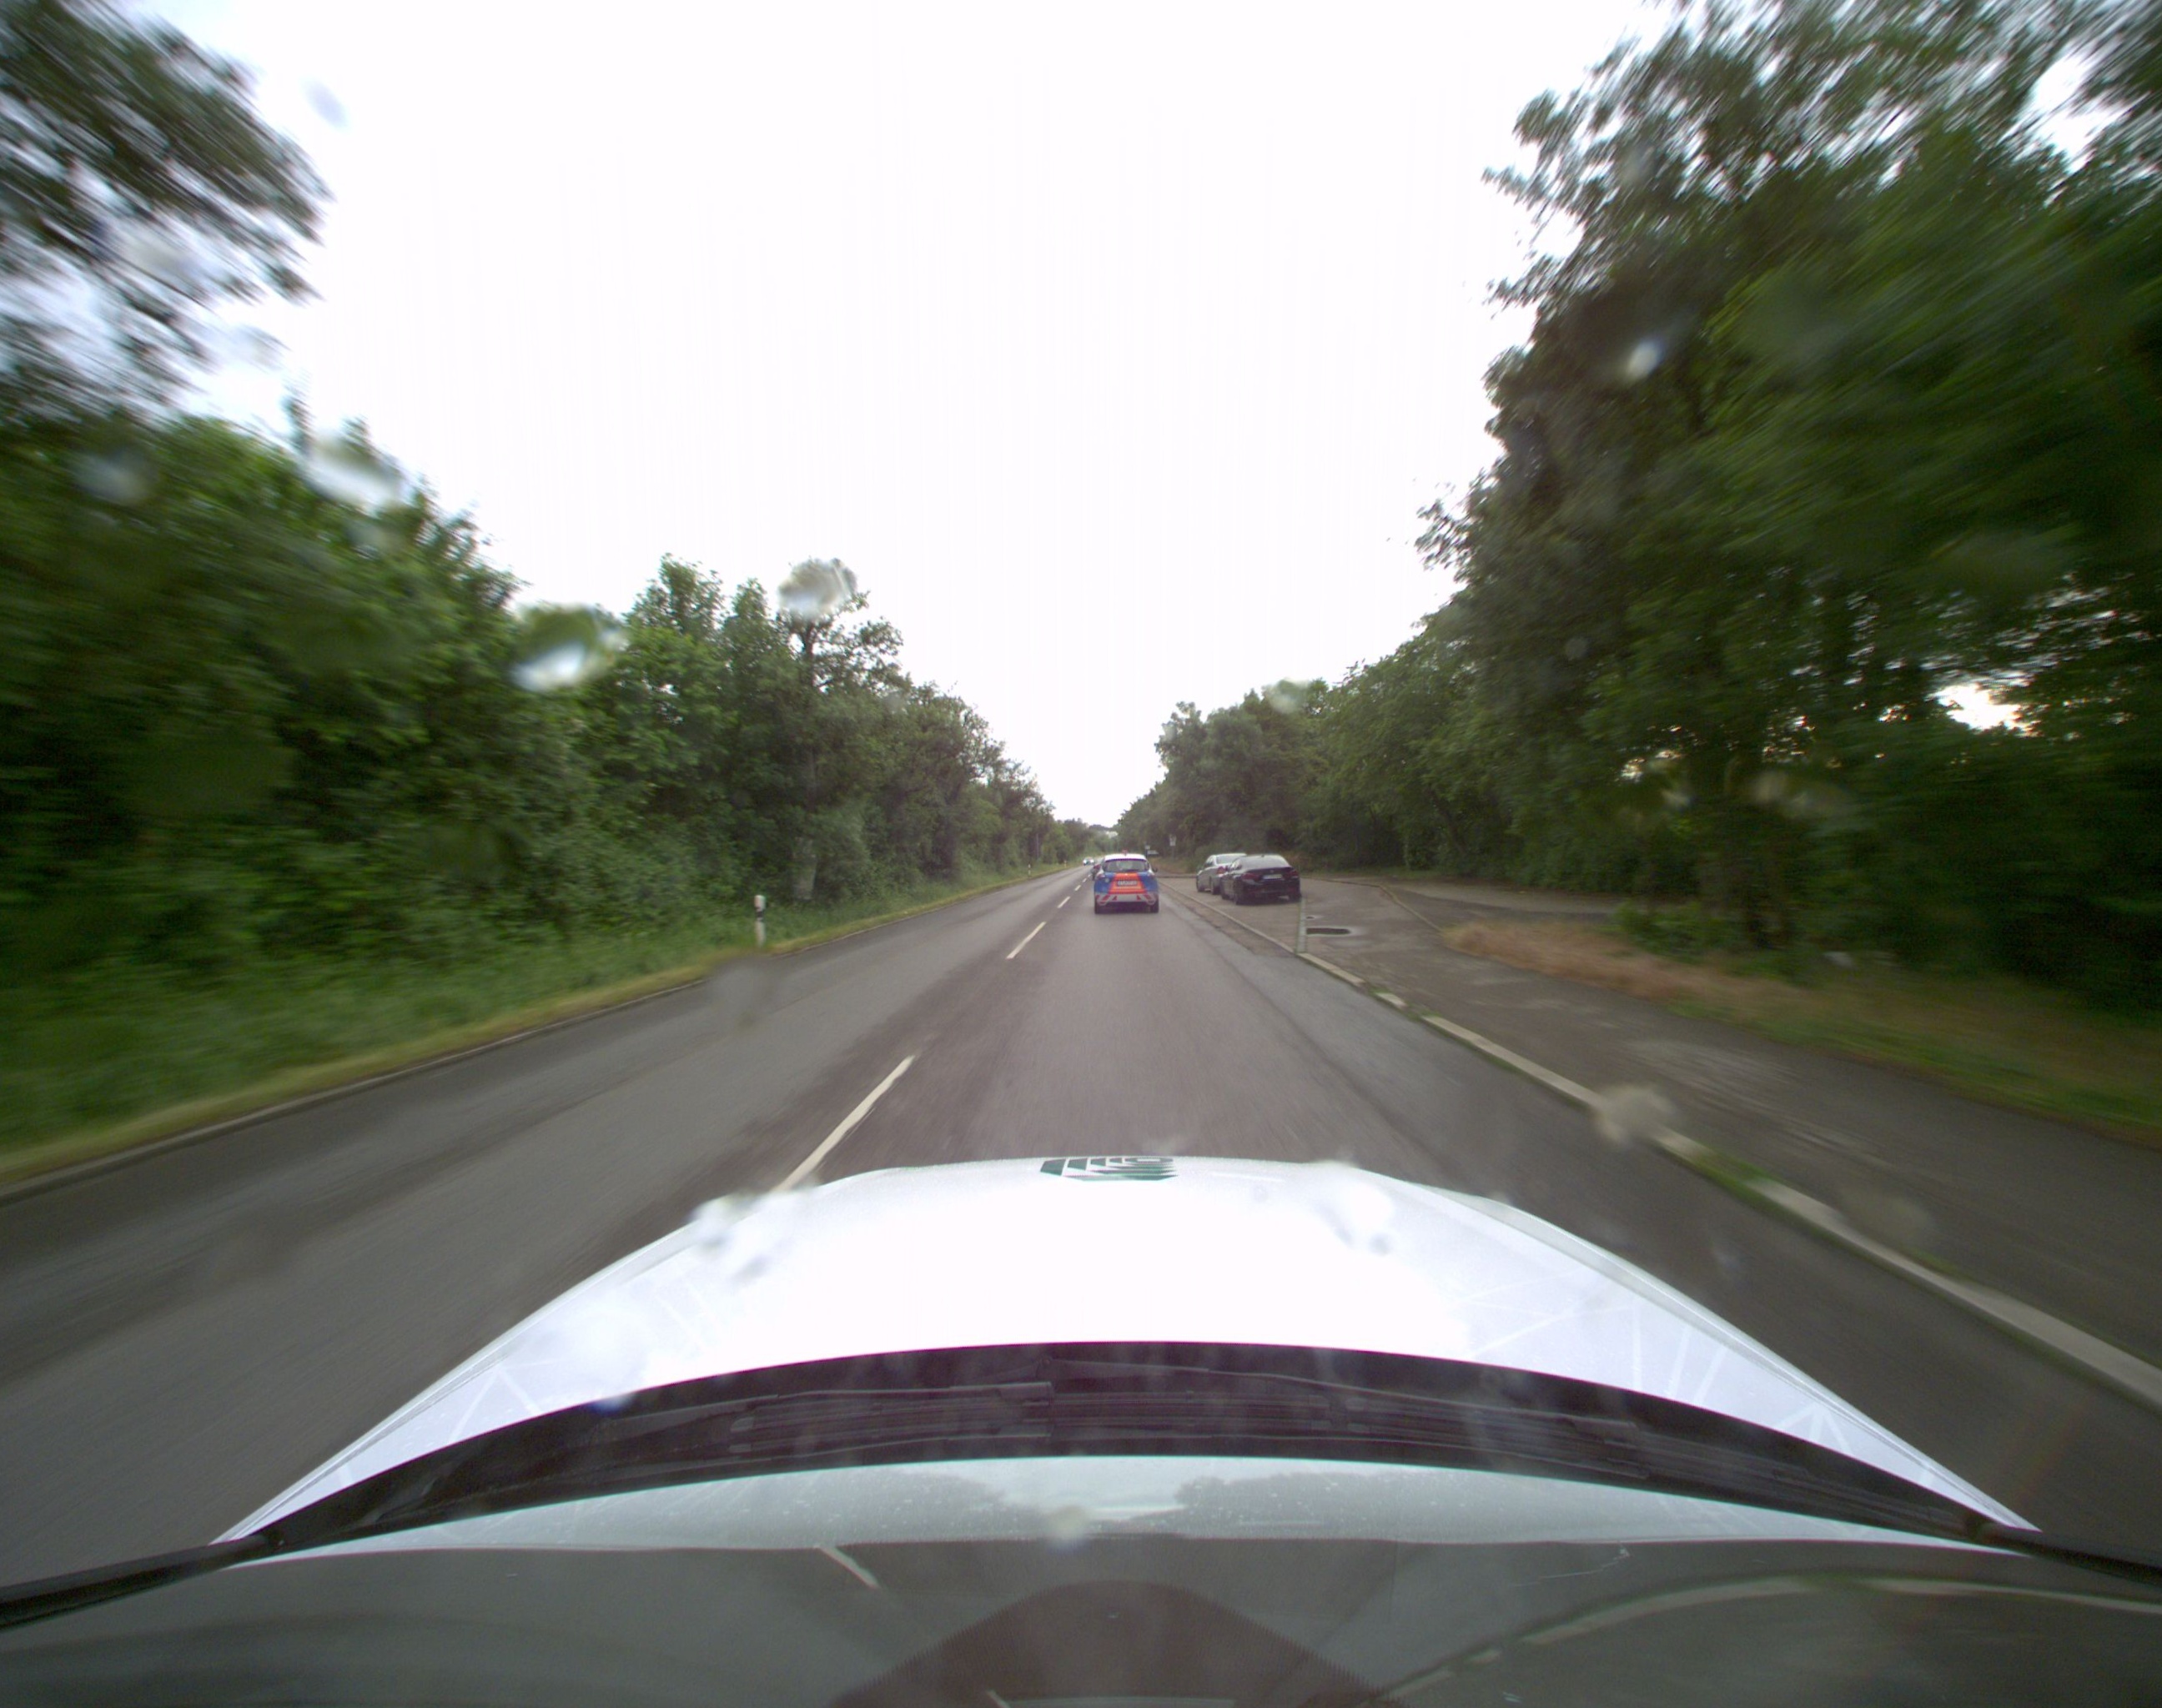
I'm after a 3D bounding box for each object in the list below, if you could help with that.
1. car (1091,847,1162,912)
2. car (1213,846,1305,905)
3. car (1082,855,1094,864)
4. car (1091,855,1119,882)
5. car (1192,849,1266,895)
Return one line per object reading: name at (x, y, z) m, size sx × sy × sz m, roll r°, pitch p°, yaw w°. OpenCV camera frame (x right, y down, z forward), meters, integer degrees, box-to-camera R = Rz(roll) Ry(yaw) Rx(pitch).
car at (1.233, 0.666, 22.773) m, size 1.799 × 1.668 × 3.857 m, roll 0°, pitch -1°, yaw 2°
car at (5.289, 0.610, 24.800) m, size 1.799 × 1.510 × 4.669 m, roll -5°, pitch -1°, yaw 2°
car at (1.249, 1.028, 147.975) m, size 1.864 × 1.489 × 4.576 m, roll -5°, pitch -1°, yaw 2°
car at (1.527, 0.878, 50.837) m, size 1.687 × 1.595 × 3.858 m, roll 0°, pitch -1°, yaw 2°
car at (5.416, 0.654, 30.333) m, size 1.740 × 1.468 × 4.216 m, roll -4°, pitch -1°, yaw -3°
